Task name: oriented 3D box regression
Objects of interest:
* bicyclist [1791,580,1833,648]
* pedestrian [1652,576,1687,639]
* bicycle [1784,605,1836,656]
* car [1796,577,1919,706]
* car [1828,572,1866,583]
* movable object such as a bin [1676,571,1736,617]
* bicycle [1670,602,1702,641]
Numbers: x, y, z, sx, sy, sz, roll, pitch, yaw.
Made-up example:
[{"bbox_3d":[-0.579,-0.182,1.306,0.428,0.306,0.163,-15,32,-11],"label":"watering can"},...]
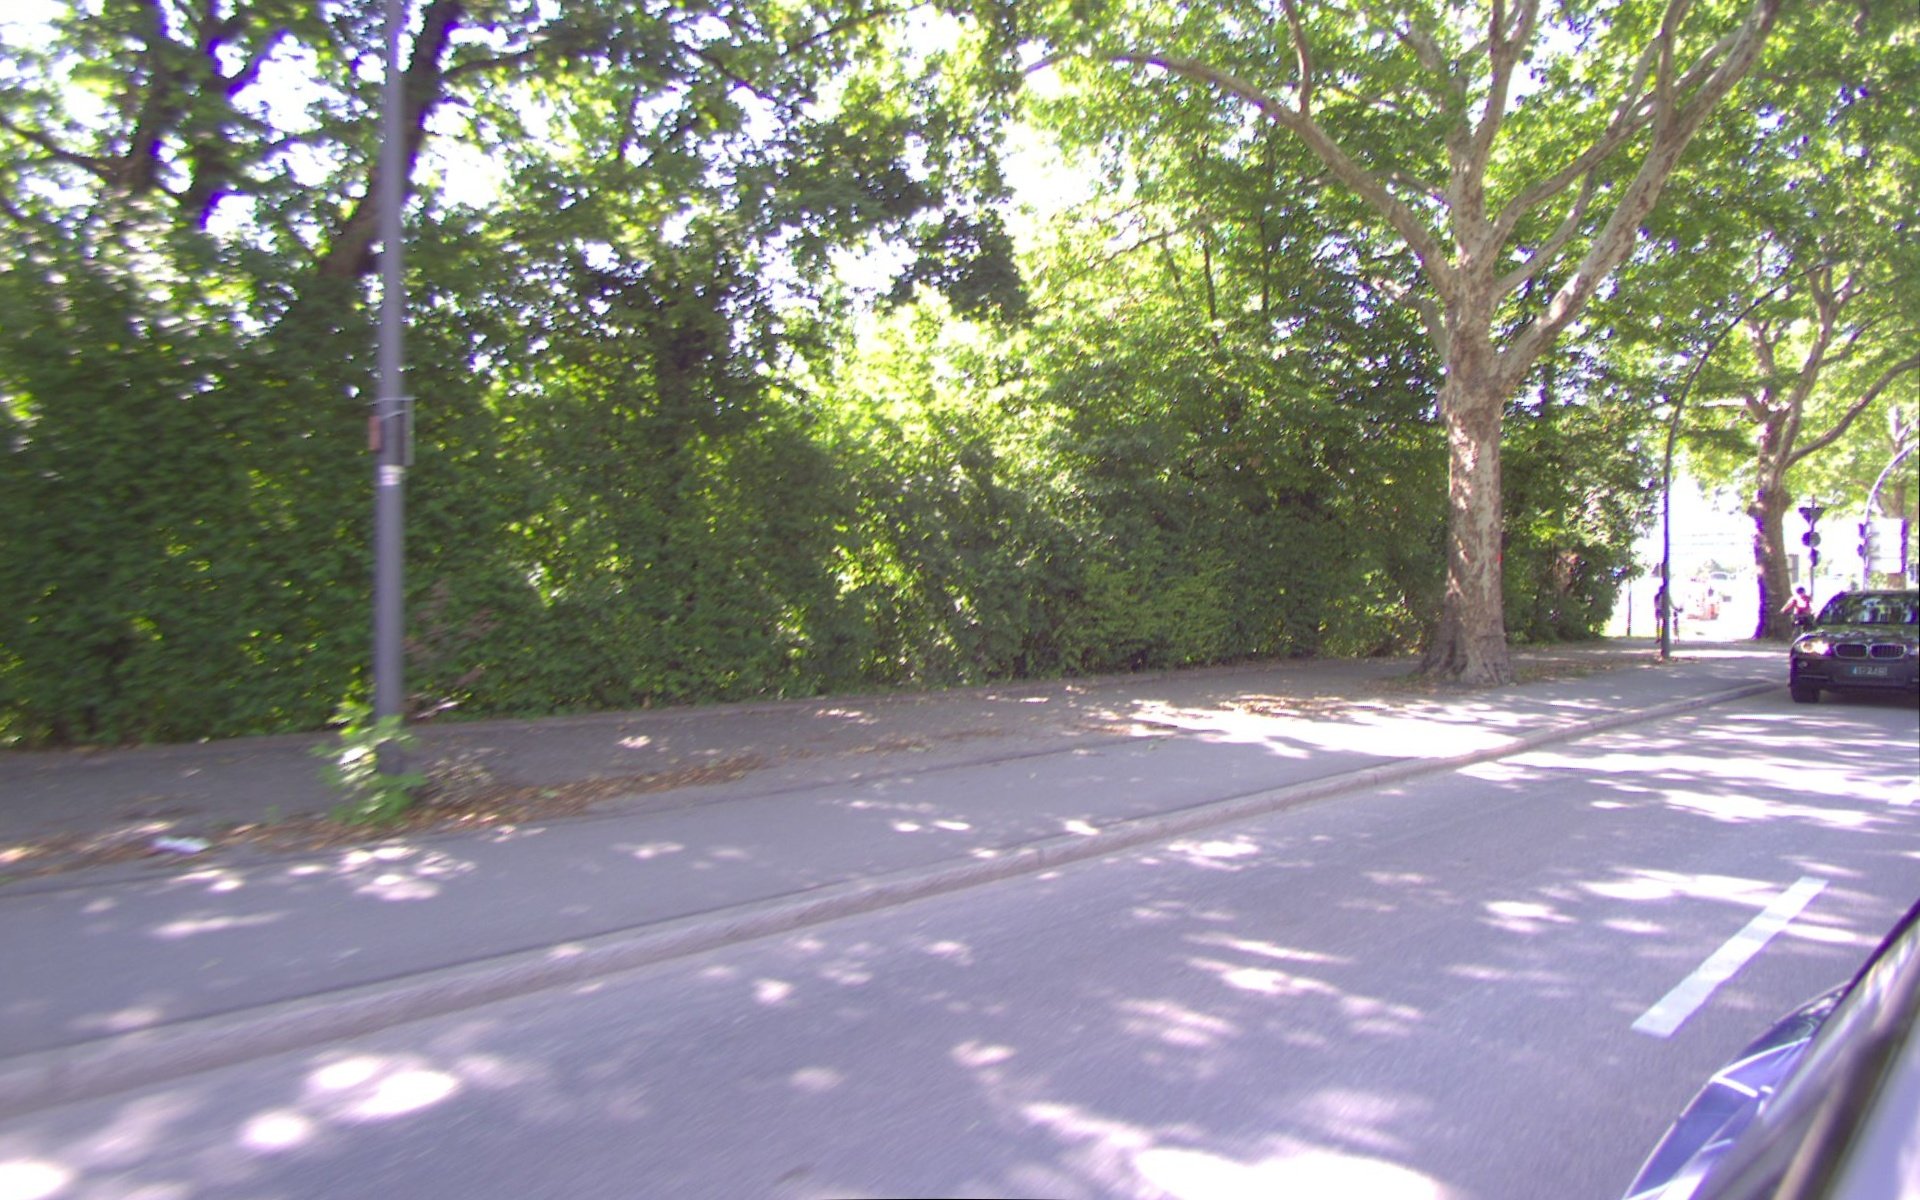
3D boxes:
[{"bbox_3d":[20.633,0.328,24.509,0.719,1.620,0.621,1,2,-42],"label":"bicyclist"},{"bbox_3d":[20.589,0.220,29.367,0.859,1.808,0.633,0,0,-40],"label":"pedestrian"},{"bbox_3d":[20.541,0.710,24.448,1.911,1.143,0.653,0,2,-41],"label":"bicycle"},{"bbox_3d":[14.424,0.560,15.409,4.078,1.752,1.923,0,0,-40],"label":"car"},{"bbox_3d":[127.604,-3.180,145.663,1.778,1.529,3.991,0,0,-43],"label":"car"},{"bbox_3d":[53.050,-0.386,71.934,5.884,3.111,2.371,0,0,-43],"label":"movable object such as a bin"},{"bbox_3d":[20.966,0.619,29.212,1.669,1.095,0.350,0,0,-40],"label":"bicycle"}]
